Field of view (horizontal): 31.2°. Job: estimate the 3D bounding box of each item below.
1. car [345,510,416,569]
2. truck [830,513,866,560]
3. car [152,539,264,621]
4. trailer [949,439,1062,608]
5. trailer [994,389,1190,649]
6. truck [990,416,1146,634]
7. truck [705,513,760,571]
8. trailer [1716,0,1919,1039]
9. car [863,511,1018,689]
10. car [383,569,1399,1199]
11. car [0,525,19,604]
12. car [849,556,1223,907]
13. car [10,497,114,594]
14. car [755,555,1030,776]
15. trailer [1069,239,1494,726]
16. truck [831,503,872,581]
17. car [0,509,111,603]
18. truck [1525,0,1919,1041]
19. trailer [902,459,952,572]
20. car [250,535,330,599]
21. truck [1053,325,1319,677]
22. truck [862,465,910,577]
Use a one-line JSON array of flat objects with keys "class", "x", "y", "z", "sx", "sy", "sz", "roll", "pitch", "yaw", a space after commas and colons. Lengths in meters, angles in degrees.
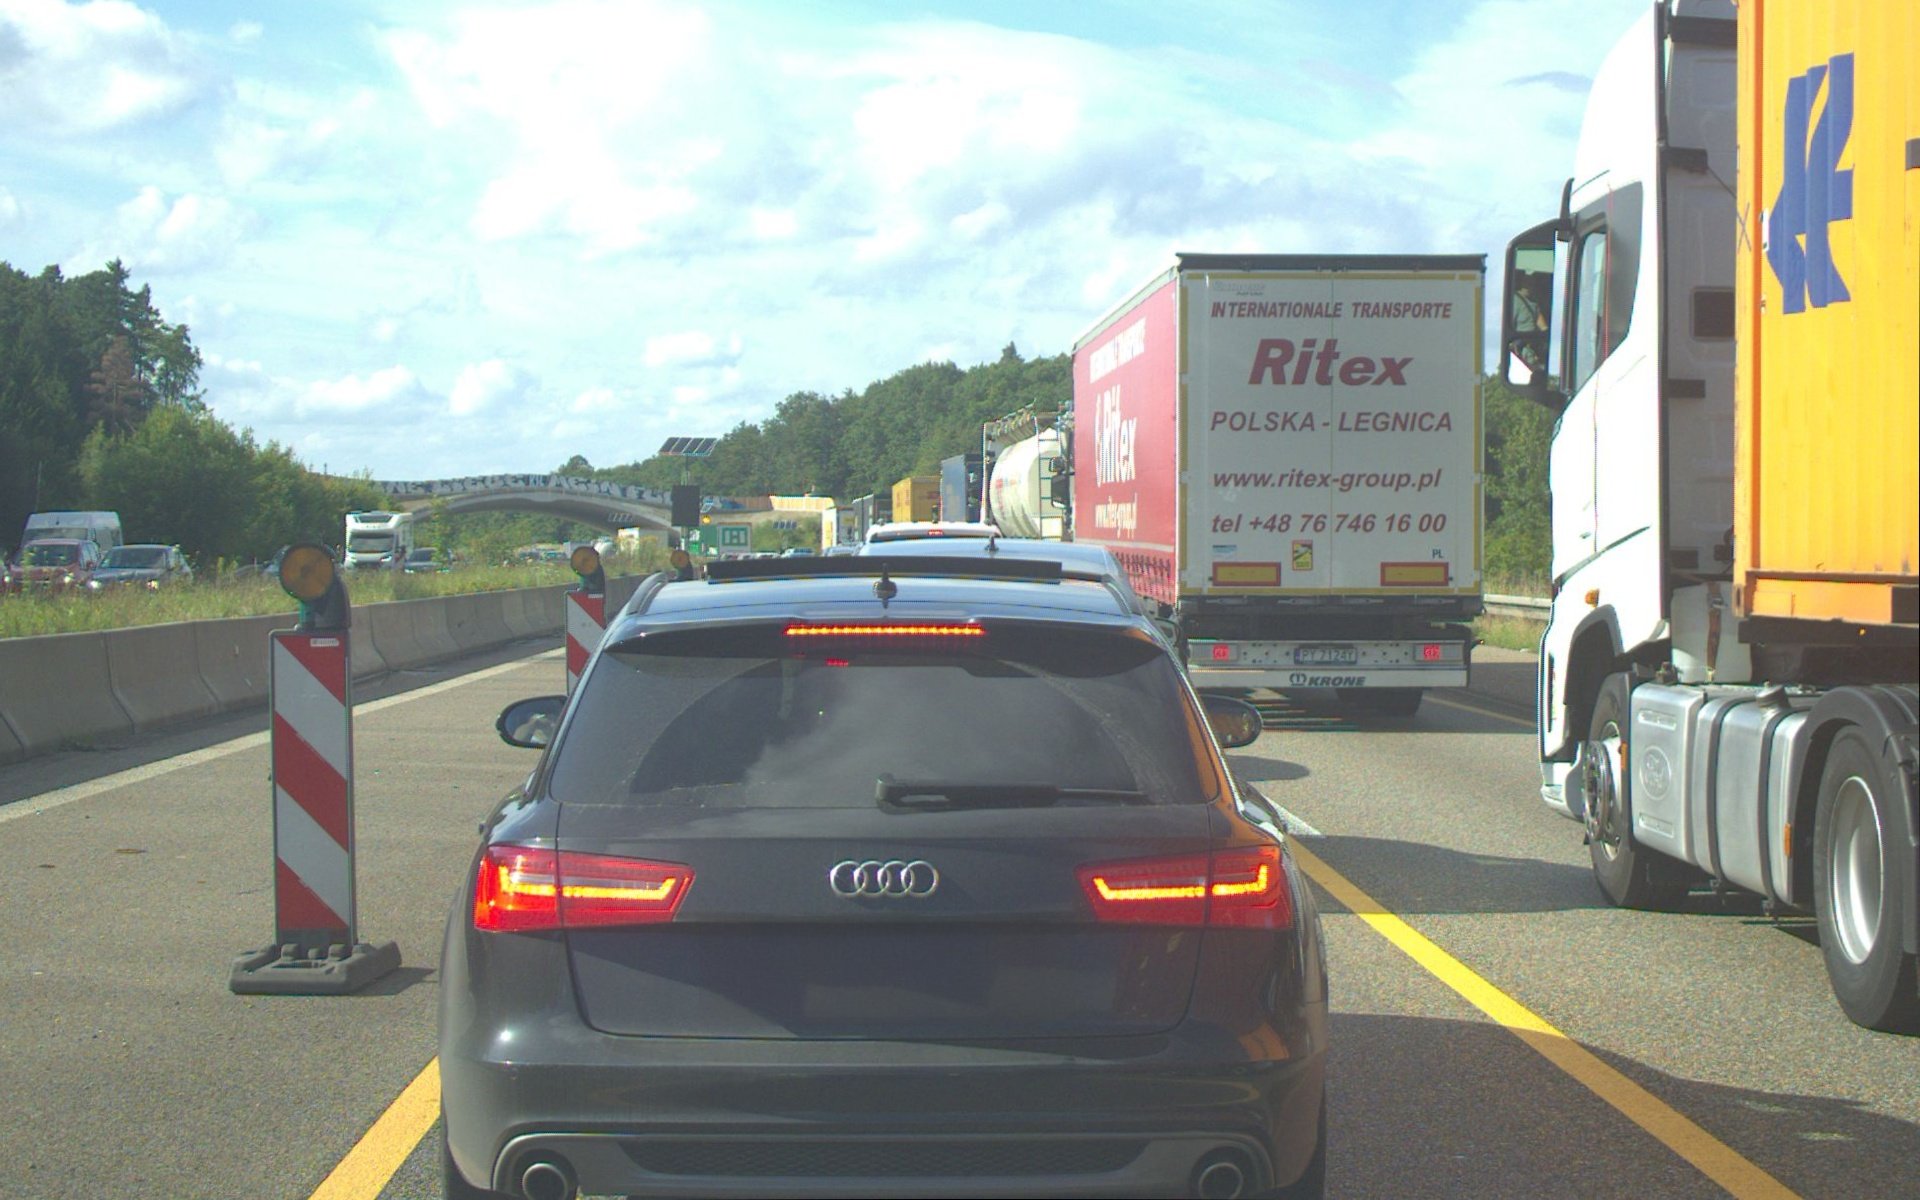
[{"class": "car", "x": -23.106, "y": -2.398, "z": 137.180, "sx": 1.993, "sy": 2.270, "sz": 5.130, "roll": 1, "pitch": 0, "yaw": -1}, {"class": "truck", "x": -8.453, "y": -4.759, "z": 258.842, "sx": 2.566, "sy": 3.455, "sz": 7.399, "roll": 1, "pitch": 0, "yaw": -2}, {"class": "car", "x": -17.472, "y": -0.470, "z": 80.005, "sx": 1.799, "sy": 1.843, "sz": 3.810, "roll": 1, "pitch": 0, "yaw": -1}, {"class": "trailer", "x": 1.184, "y": -2.053, "z": 95.692, "sx": 2.805, "sy": 4.398, "sz": 10.433, "roll": 1, "pitch": 0, "yaw": -1}, {"class": "trailer", "x": 2.077, "y": -1.334, "z": 58.864, "sx": 2.644, "sy": 3.929, "sz": 12.598, "roll": 1, "pitch": 1, "yaw": -1}, {"class": "truck", "x": 2.003, "y": -1.396, "z": 65.901, "sx": 2.659, "sy": 3.958, "sz": 5.779, "roll": 1, "pitch": 0, "yaw": -1}, {"class": "truck", "x": -17.162, "y": -4.311, "z": 258.851, "sx": 3.303, "sy": 4.160, "sz": 9.704, "roll": -2, "pitch": 0, "yaw": -8}, {"class": "trailer", "x": 4.149, "y": -0.545, "z": 6.289, "sx": 2.471, "sy": 3.762, "sz": 12.137, "roll": -1, "pitch": 1, "yaw": -2}, {"class": "car", "x": -0.220, "y": -0.015, "z": 37.413, "sx": 1.581, "sy": 1.830, "sz": 3.112, "roll": 1, "pitch": 0, "yaw": -1}, {"class": "car", "x": -0.149, "y": 0.661, "z": 8.279, "sx": 1.848, "sy": 1.458, "sz": 4.000, "roll": 0, "pitch": 0, "yaw": -1}, {"class": "car", "x": -25.496, "y": -0.917, "z": 87.566, "sx": 1.993, "sy": 2.007, "sz": 4.000, "roll": 1, "pitch": 0, "yaw": -1}, {"class": "car", "x": 0.297, "y": 0.531, "z": 15.880, "sx": 1.524, "sy": 1.434, "sz": 3.285, "roll": 1, "pitch": 0, "yaw": -1}, {"class": "car", "x": -25.413, "y": -1.519, "z": 97.422, "sx": 2.250, "sy": 2.634, "sz": 5.021, "roll": 1, "pitch": 0, "yaw": -8}, {"class": "car", "x": -0.454, "y": 0.407, "z": 23.941, "sx": 1.751, "sy": 1.392, "sz": 3.608, "roll": 1, "pitch": 0, "yaw": -1}, {"class": "trailer", "x": 2.849, "y": -1.066, "z": 34.880, "sx": 2.699, "sy": 3.955, "sz": 13.418, "roll": 1, "pitch": 1, "yaw": -1}, {"class": "truck", "x": -6.041, "y": -3.231, "z": 192.035, "sx": 2.137, "sy": 4.243, "sz": 7.072, "roll": 1, "pitch": 0, "yaw": -1}, {"class": "car", "x": -20.390, "y": -0.991, "z": 76.558, "sx": 1.993, "sy": 2.007, "sz": 4.000, "roll": 1, "pitch": 1, "yaw": -1}, {"class": "truck", "x": 3.933, "y": -0.644, "z": 12.817, "sx": 2.494, "sy": 3.767, "sz": 5.790, "roll": 0, "pitch": 1, "yaw": -2}, {"class": "trailer", "x": -1.216, "y": -2.982, "z": 122.786, "sx": 1.616, "sy": 3.905, "sz": 6.490, "roll": 1, "pitch": 0, "yaw": -1}, {"class": "car", "x": -17.641, "y": -0.874, "z": 90.648, "sx": 1.482, "sy": 1.647, "sz": 3.234, "roll": 1, "pitch": 0, "yaw": -1}, {"class": "truck", "x": 2.638, "y": -1.166, "z": 41.764, "sx": 2.667, "sy": 3.946, "sz": 5.711, "roll": 1, "pitch": 1, "yaw": -1}, {"class": "truck", "x": -3.401, "y": -3.550, "z": 156.348, "sx": 1.993, "sy": 4.897, "sz": 9.563, "roll": 1, "pitch": 1, "yaw": -2}]
